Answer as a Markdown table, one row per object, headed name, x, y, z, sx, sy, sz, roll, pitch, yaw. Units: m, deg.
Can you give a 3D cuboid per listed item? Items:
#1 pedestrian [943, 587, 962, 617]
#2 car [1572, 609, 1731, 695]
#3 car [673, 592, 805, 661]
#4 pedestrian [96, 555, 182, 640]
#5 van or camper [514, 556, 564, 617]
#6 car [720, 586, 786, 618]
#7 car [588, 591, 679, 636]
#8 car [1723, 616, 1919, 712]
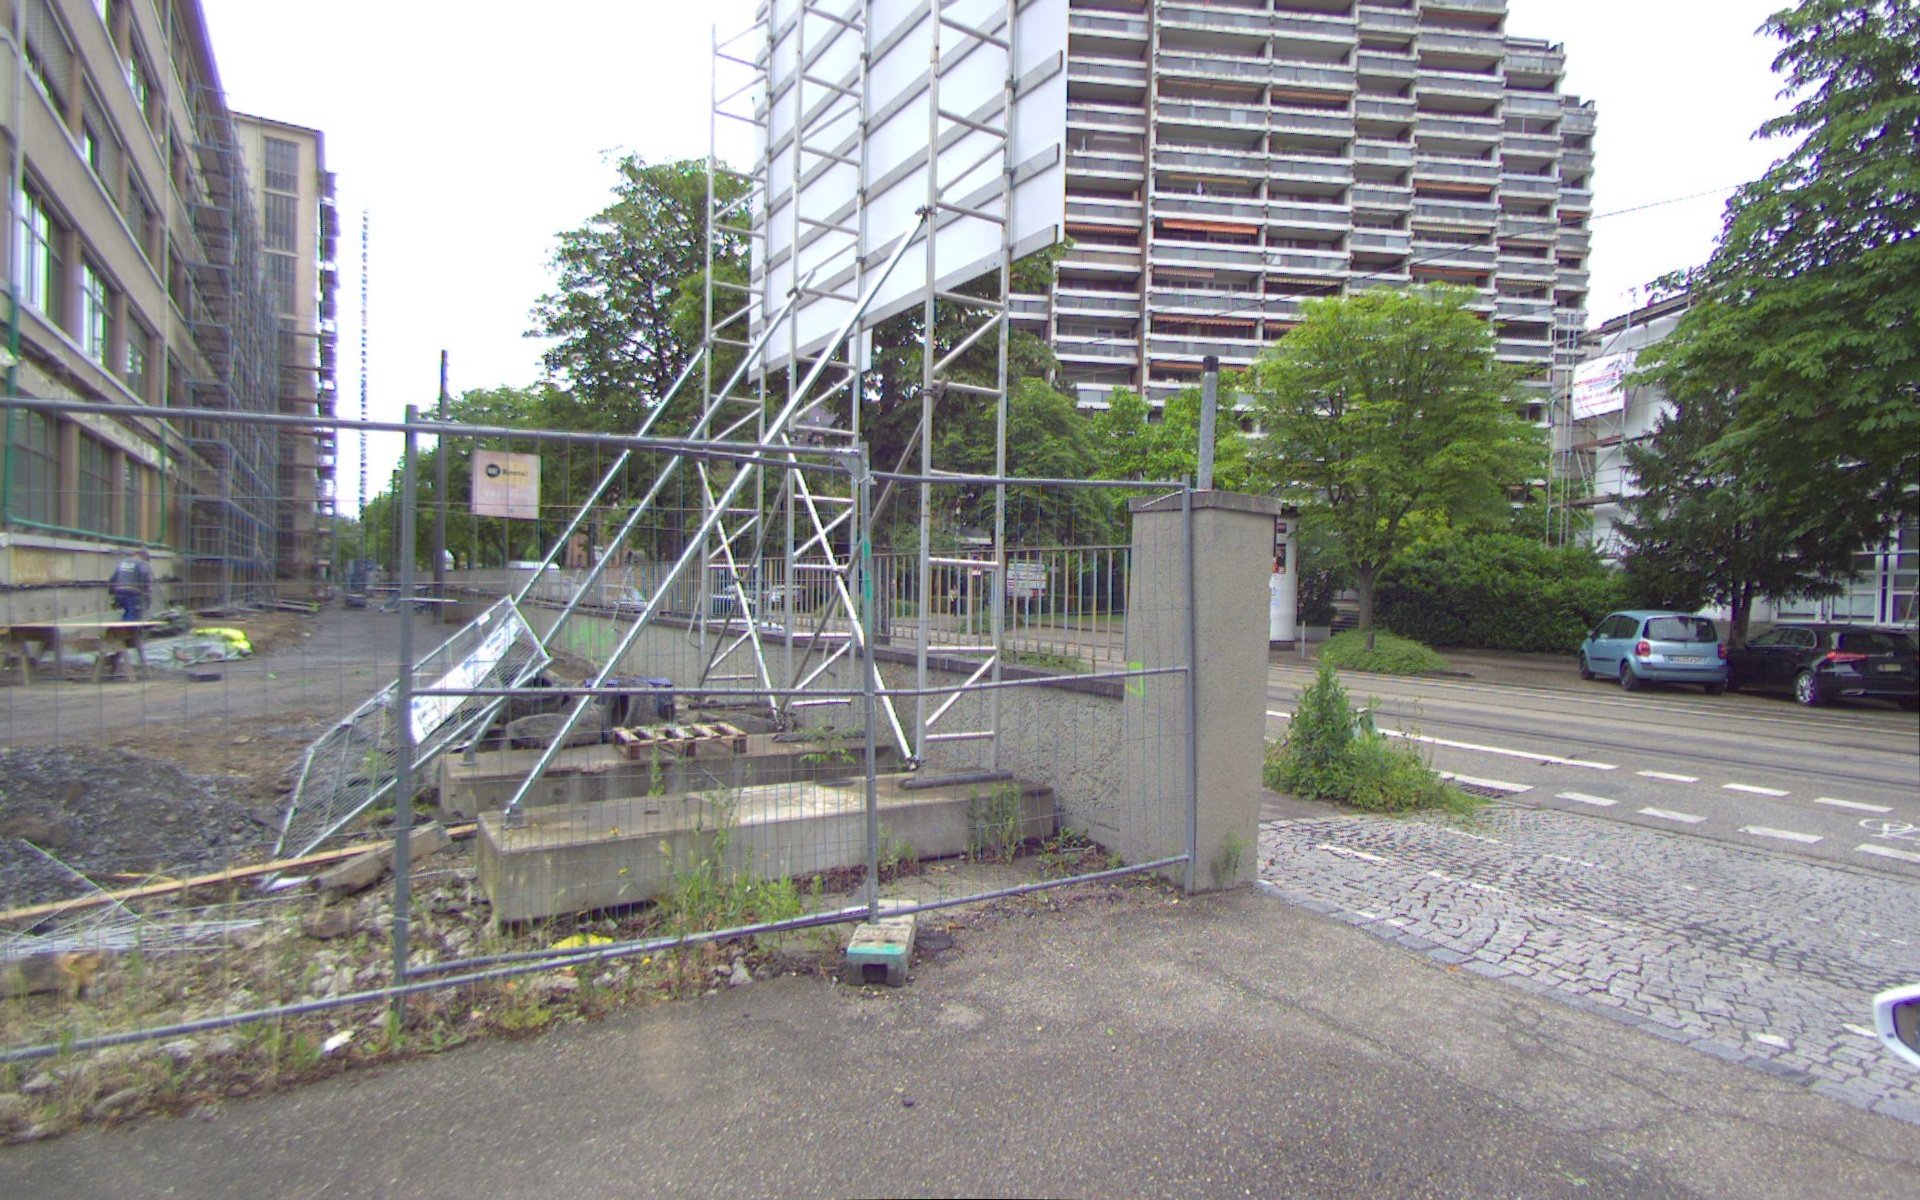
| name | x | y | z | sx | sy | sz | roll | pitch | yaw |
| --- | --- | --- | --- | --- | --- | --- | --- | --- | --- |
| pedestrian | -0.384 | 0.104 | 51.545 | 0.838 | 1.548 | 0.515 | 1 | 1 | -44 |
| car | 14.220 | 1.003 | 20.861 | 1.586 | 1.557 | 3.339 | 2 | 0 | 14 |
| car | -5.287 | 0.570 | 23.696 | 1.813 | 1.437 | 3.965 | 1 | 0 | -32 |
| pedestrian | -14.624 | -0.034 | 17.917 | 0.970 | 1.457 | 0.924 | 2 | 0 | -27 |
| van or camper | -20.314 | -0.654 | 48.373 | 1.974 | 2.789 | 3.973 | 1 | 0 | -26 |
| car | -10.524 | 0.074 | 50.922 | 1.805 | 1.510 | 4.215 | 1 | 0 | -34 |
| car | -10.785 | 0.426 | 33.031 | 1.978 | 1.327 | 3.965 | 1 | 1 | -32 |
| car | 15.695 | 1.081 | 18.333 | 1.586 | 1.531 | 3.339 | 2 | 0 | 14 |
